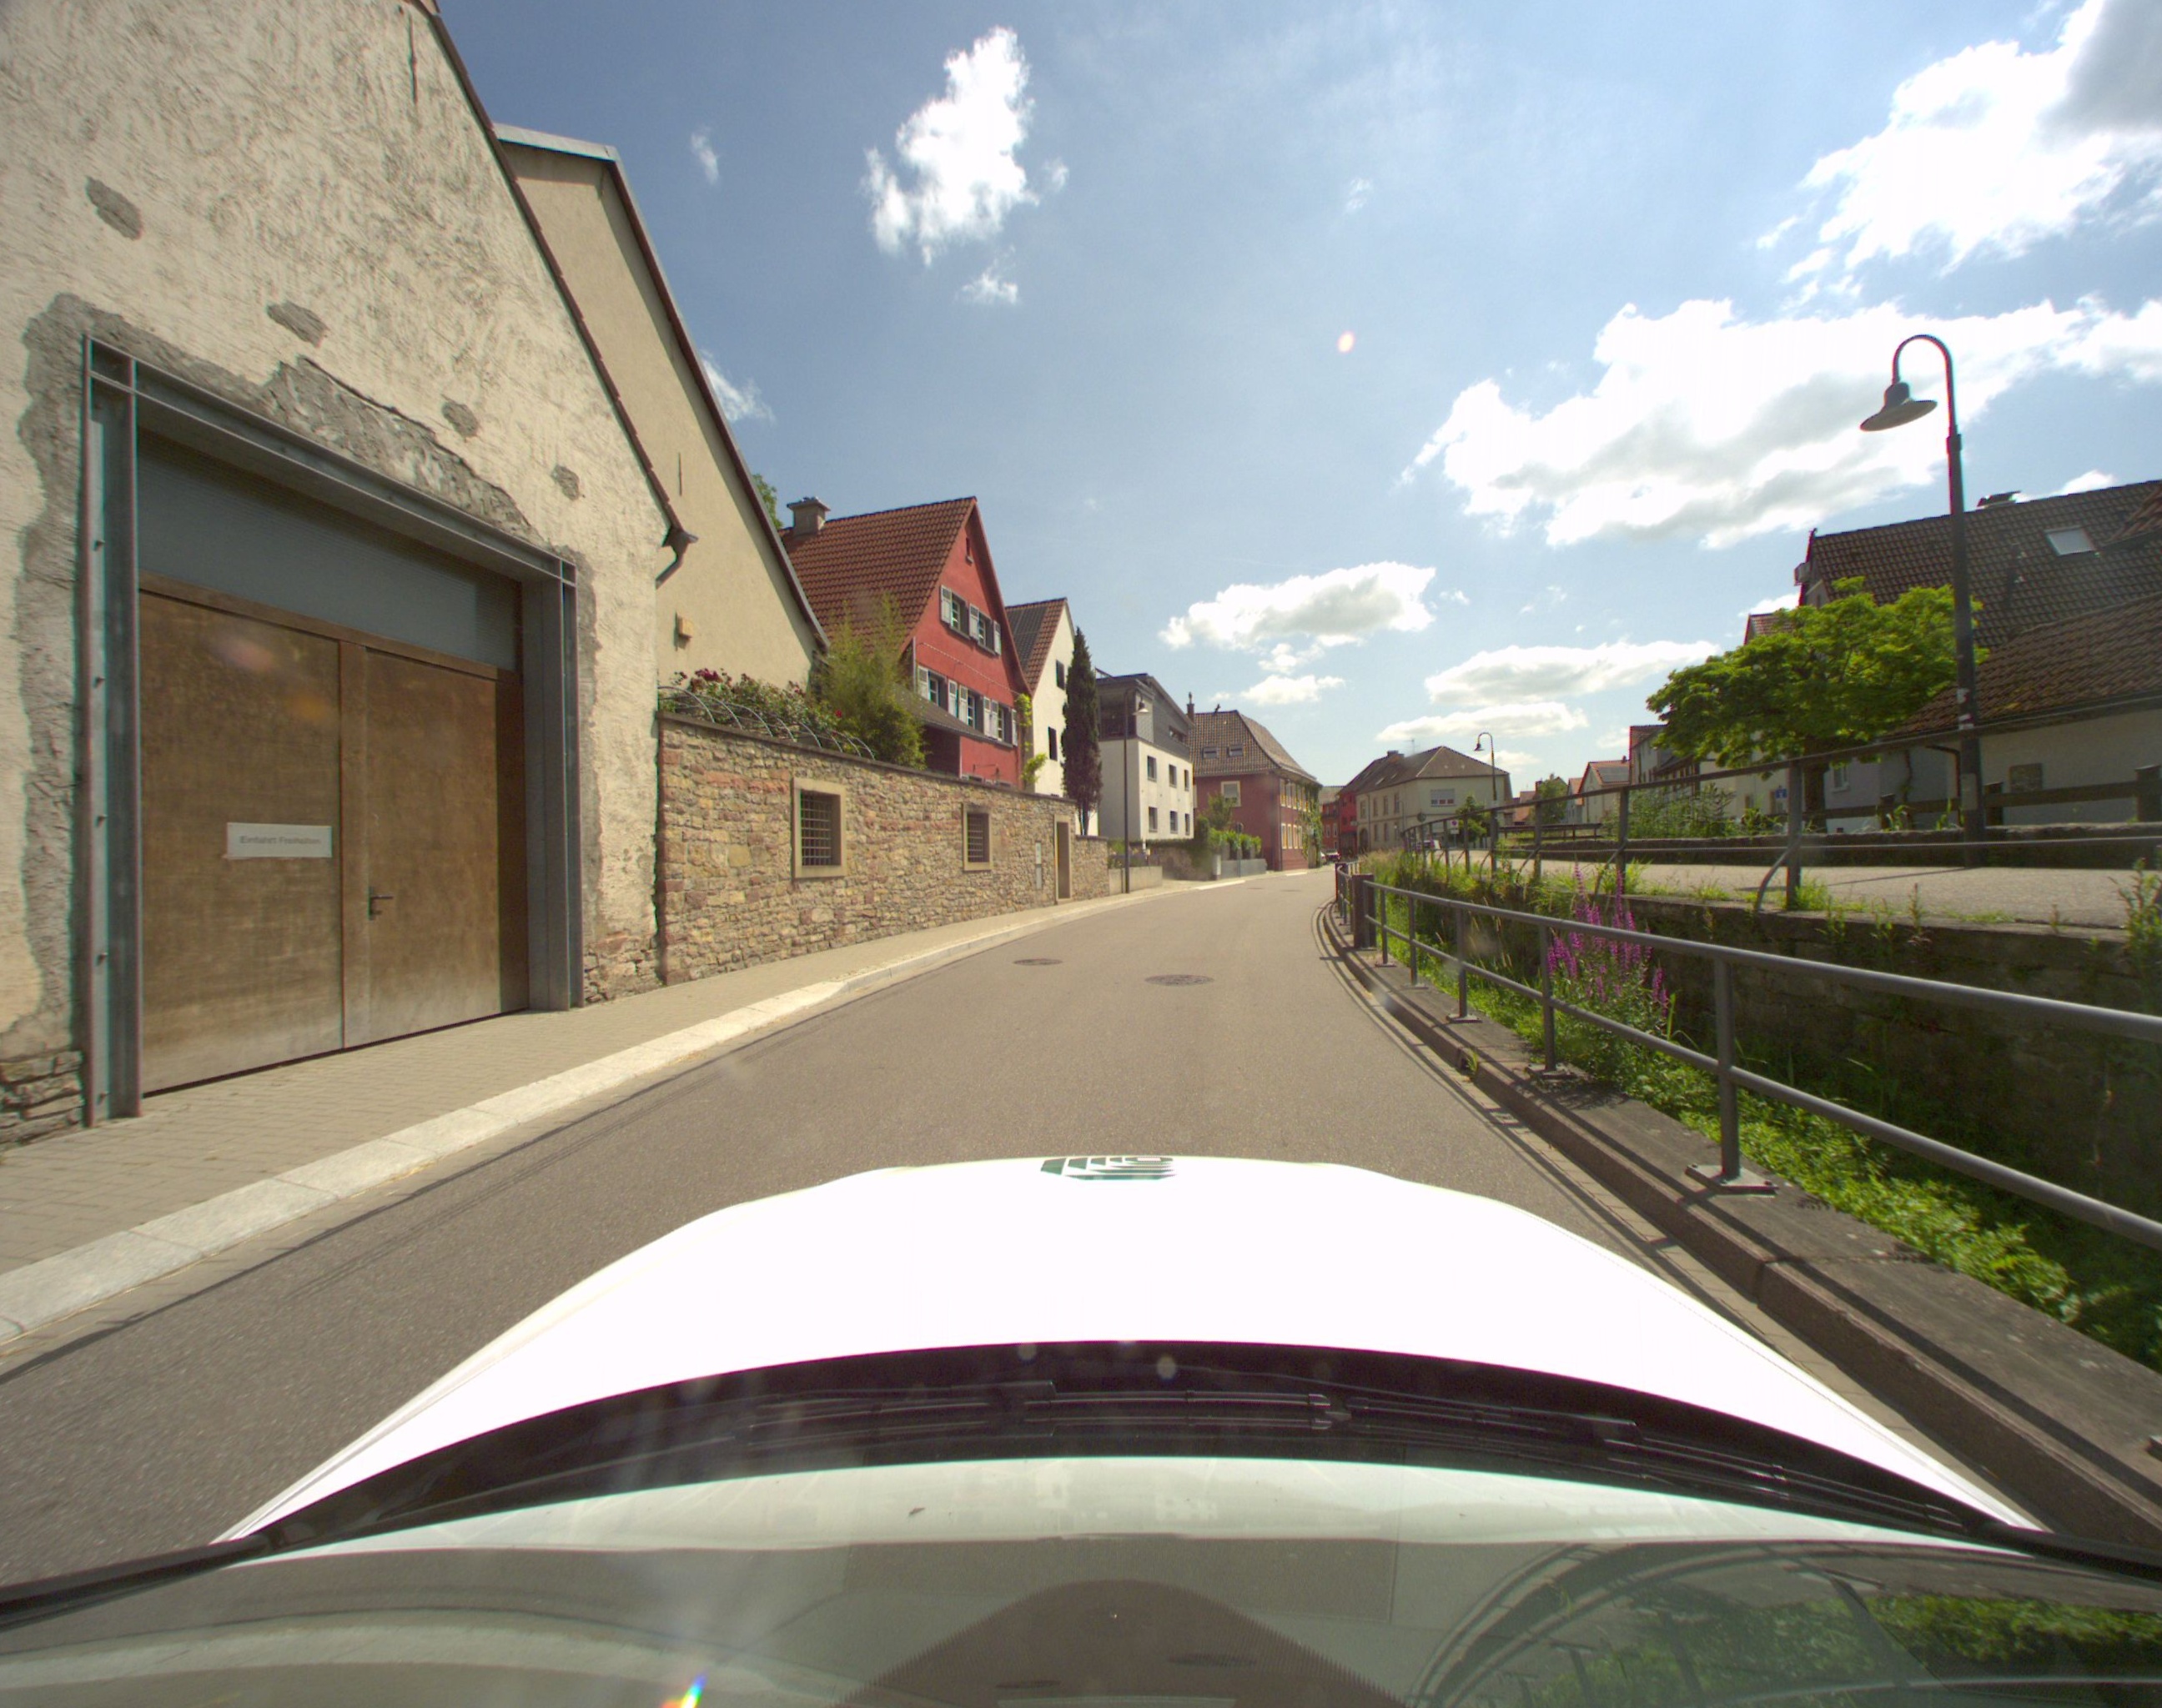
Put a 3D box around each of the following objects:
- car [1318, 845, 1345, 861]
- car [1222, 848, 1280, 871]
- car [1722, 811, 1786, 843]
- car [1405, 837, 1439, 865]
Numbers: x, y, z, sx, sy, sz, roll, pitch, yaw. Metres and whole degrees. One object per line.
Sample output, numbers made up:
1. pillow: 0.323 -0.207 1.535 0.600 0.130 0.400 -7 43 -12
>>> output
1. car: 30.218 -0.107 98.262 1.621 1.719 3.462 -4 -1 -9
2. car: 11.783 0.349 56.472 3.532 1.406 1.661 3 2 26
3. car: 32.371 -1.260 39.249 1.650 1.416 3.097 -2 0 25
4. car: 25.998 -0.245 62.060 1.879 1.980 3.133 -4 -1 29
